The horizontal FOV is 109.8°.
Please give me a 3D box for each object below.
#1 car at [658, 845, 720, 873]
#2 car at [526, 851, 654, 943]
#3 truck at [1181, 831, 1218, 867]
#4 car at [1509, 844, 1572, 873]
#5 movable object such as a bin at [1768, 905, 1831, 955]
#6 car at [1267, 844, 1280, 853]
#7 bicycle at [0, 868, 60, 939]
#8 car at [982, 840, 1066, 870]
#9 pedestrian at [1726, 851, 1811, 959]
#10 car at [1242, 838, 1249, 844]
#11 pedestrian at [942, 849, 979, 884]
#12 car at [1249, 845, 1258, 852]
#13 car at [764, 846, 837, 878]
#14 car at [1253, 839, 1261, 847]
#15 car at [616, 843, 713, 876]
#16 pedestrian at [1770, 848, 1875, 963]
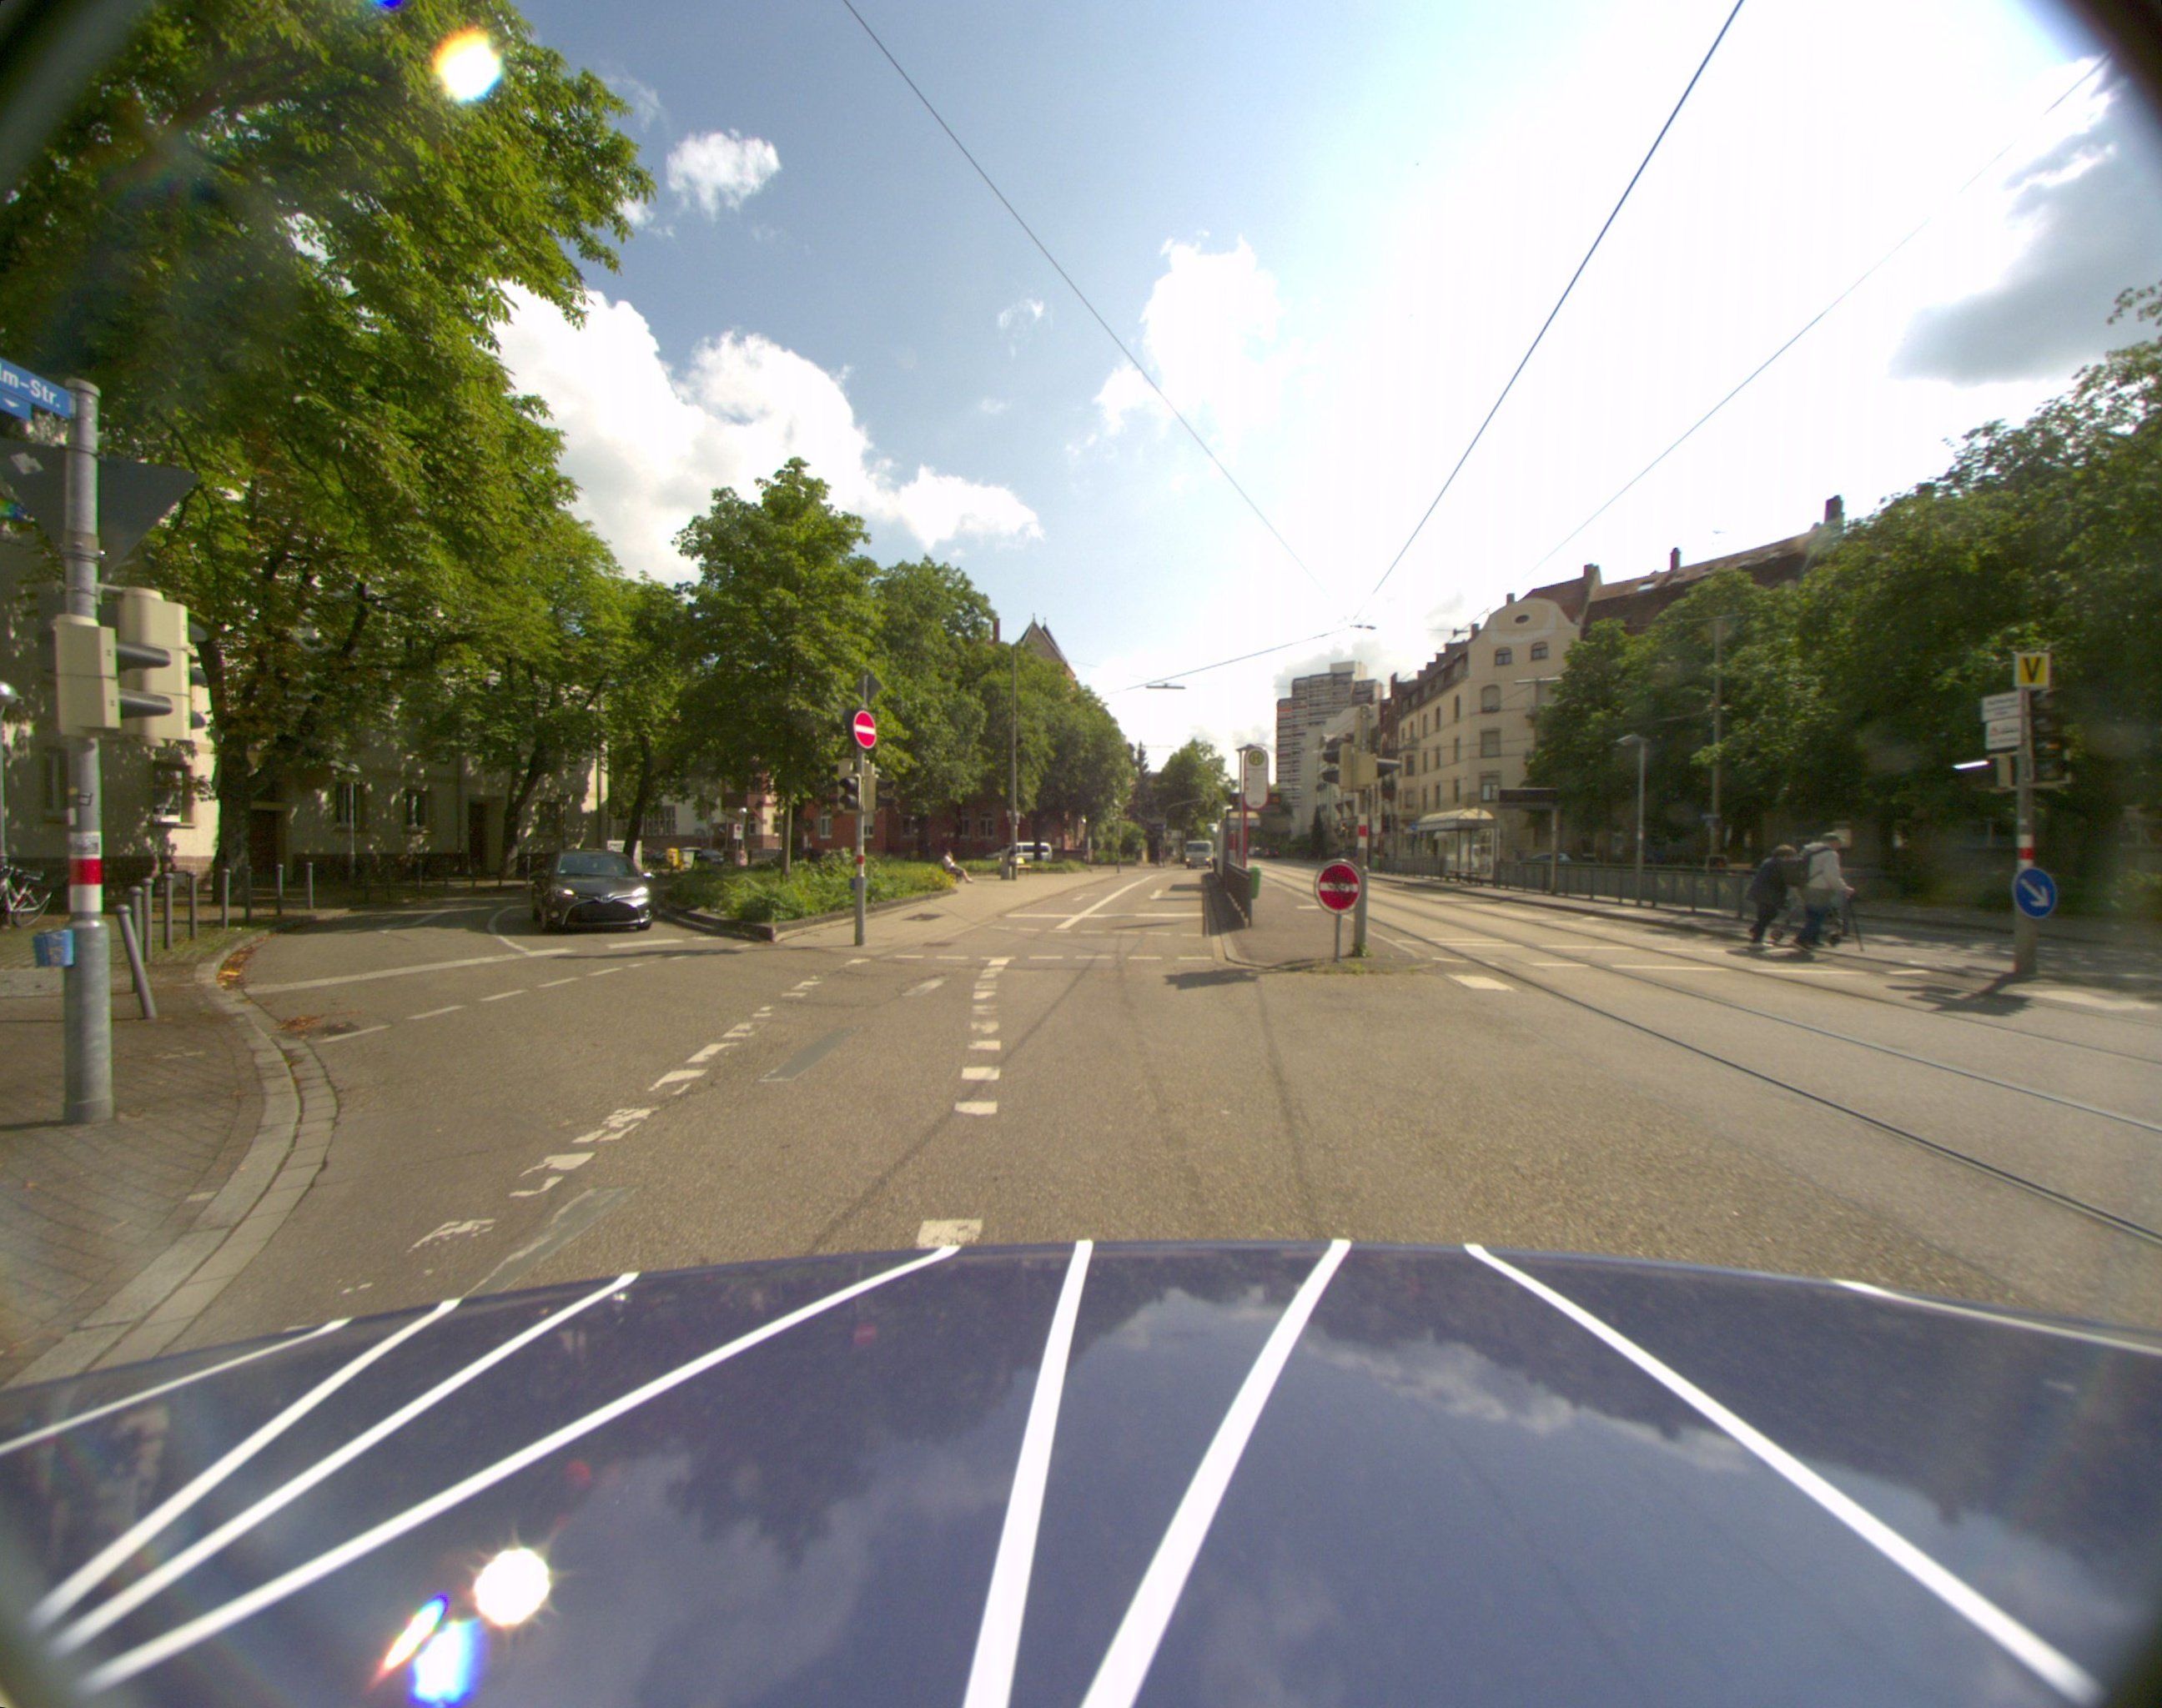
[{"bbox_3d":[-33.214,0.371,64.417,5.219,2.256,2.288,1,1,32],"label":"car"},{"bbox_3d":[-9.456,0.728,14.518,1.633,1.482,3.720,2,0,-39],"label":"car"},{"bbox_3d":[9.698,-0.418,61.846,2.529,2.722,6.521,1,1,13],"label":"truck"},{"bbox_3d":[29.868,0.299,49.450,3.418,1.842,1.615,-1,1,28],"label":"car"},{"bbox_3d":[10.892,1.141,11.535,0.512,0.713,0.457,0,1,-5],"label":"movable object such as a bin"},{"bbox_3d":[31.997,-0.901,126.425,1.839,1.482,3.894,1,1,9],"label":"car"},{"bbox_3d":[-16.461,0.741,11.693,0.302,1.004,1.472,3,-1,-30],"label":"bicycle"},{"bbox_3d":[-3.880,0.066,52.145,5.298,2.002,2.277,0,1,-34],"label":"car"},{"bbox_3d":[10.260,0.749,11.361,0.715,1.565,0.585,0,1,-5],"label":"pedestrian"},{"bbox_3d":[48.352,-3.828,223.511,1.839,1.799,3.894,1,1,9],"label":"car"},{"bbox_3d":[-4.470,0.464,28.297,1.159,1.195,0.907,4,1,1],"label":"pedestrian"},{"bbox_3d":[41.303,-1.311,181.737,1.839,1.482,3.894,1,1,9],"label":"car"},{"bbox_3d":[-21.179,0.581,57.361,5.219,2.256,2.288,1,1,29],"label":"car"},{"bbox_3d":[48.555,-2.904,209.410,1.839,2.180,3.894,1,1,9],"label":"car"},{"bbox_3d":[-20.998,0.261,38.378,3.996,1.543,1.651,-2,1,4],"label":"car"},{"bbox_3d":[10.422,0.696,10.703,0.782,1.565,0.693,0,1,-5],"label":"pedestrian"}]
